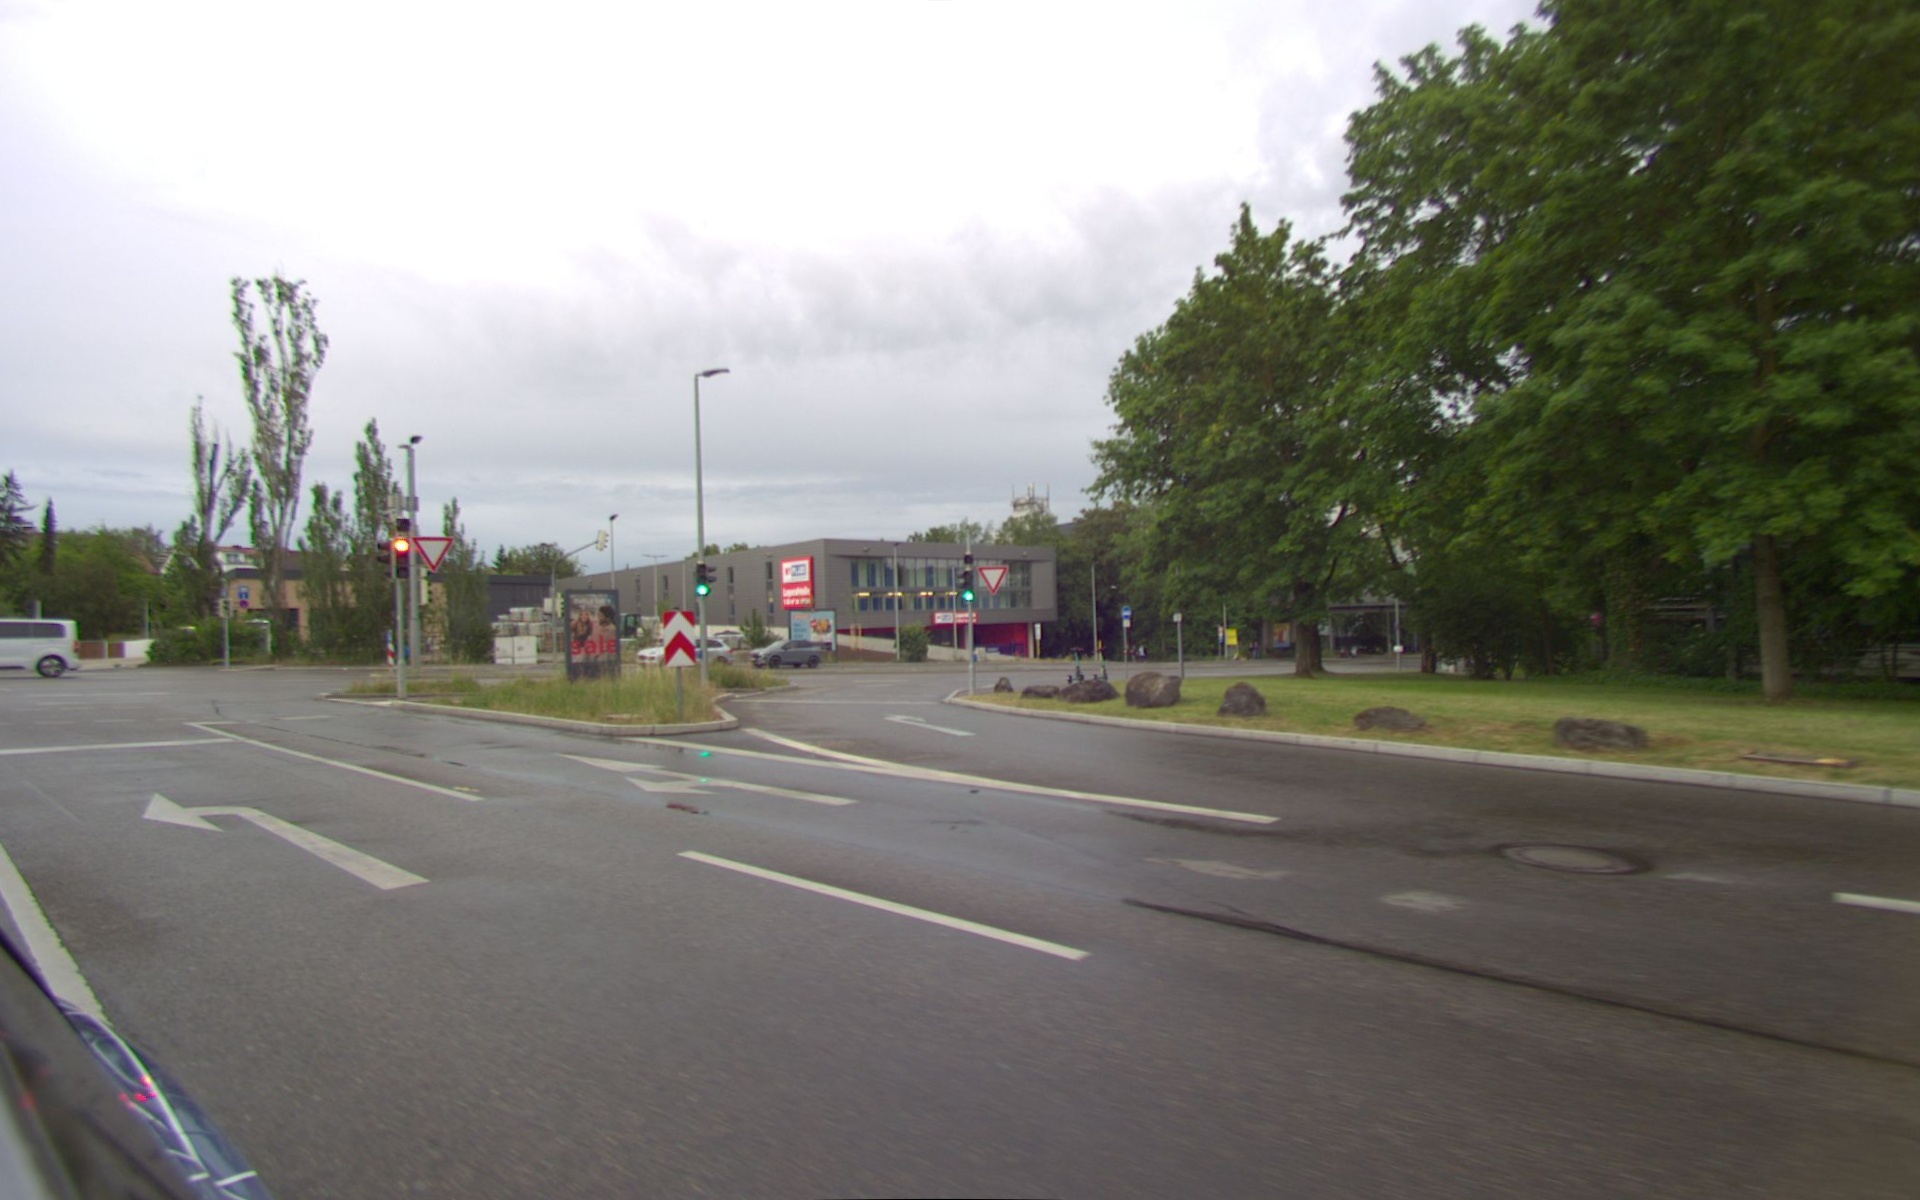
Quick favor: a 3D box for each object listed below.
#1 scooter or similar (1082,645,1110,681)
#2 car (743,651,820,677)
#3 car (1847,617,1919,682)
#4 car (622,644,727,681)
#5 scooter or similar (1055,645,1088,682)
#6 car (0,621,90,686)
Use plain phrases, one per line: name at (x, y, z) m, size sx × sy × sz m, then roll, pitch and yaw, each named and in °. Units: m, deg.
scooter or similar at (4.838, 2.231, 35.988) m, size 0.516 × 1.269 × 1.212 m, roll -3°, pitch -4°, yaw 34°
car at (-10.164, 3.627, 57.735) m, size 3.982 × 1.415 × 1.842 m, roll 2°, pitch -4°, yaw -44°
car at (24.497, 1.198, 25.220) m, size 3.930 × 1.530 × 2.006 m, roll 0°, pitch -2°, yaw -22°
car at (-13.808, 3.031, 49.141) m, size 4.555 × 1.716 × 1.842 m, roll 3°, pitch -5°, yaw -43°
scooter or similar at (3.846, 2.192, 34.933) m, size 0.548 × 1.269 × 1.341 m, roll -3°, pitch -4°, yaw 34°
car at (-31.273, 1.704, 32.308) m, size 1.841 × 2.050 × 5.117 m, roll -4°, pitch -5°, yaw 44°
